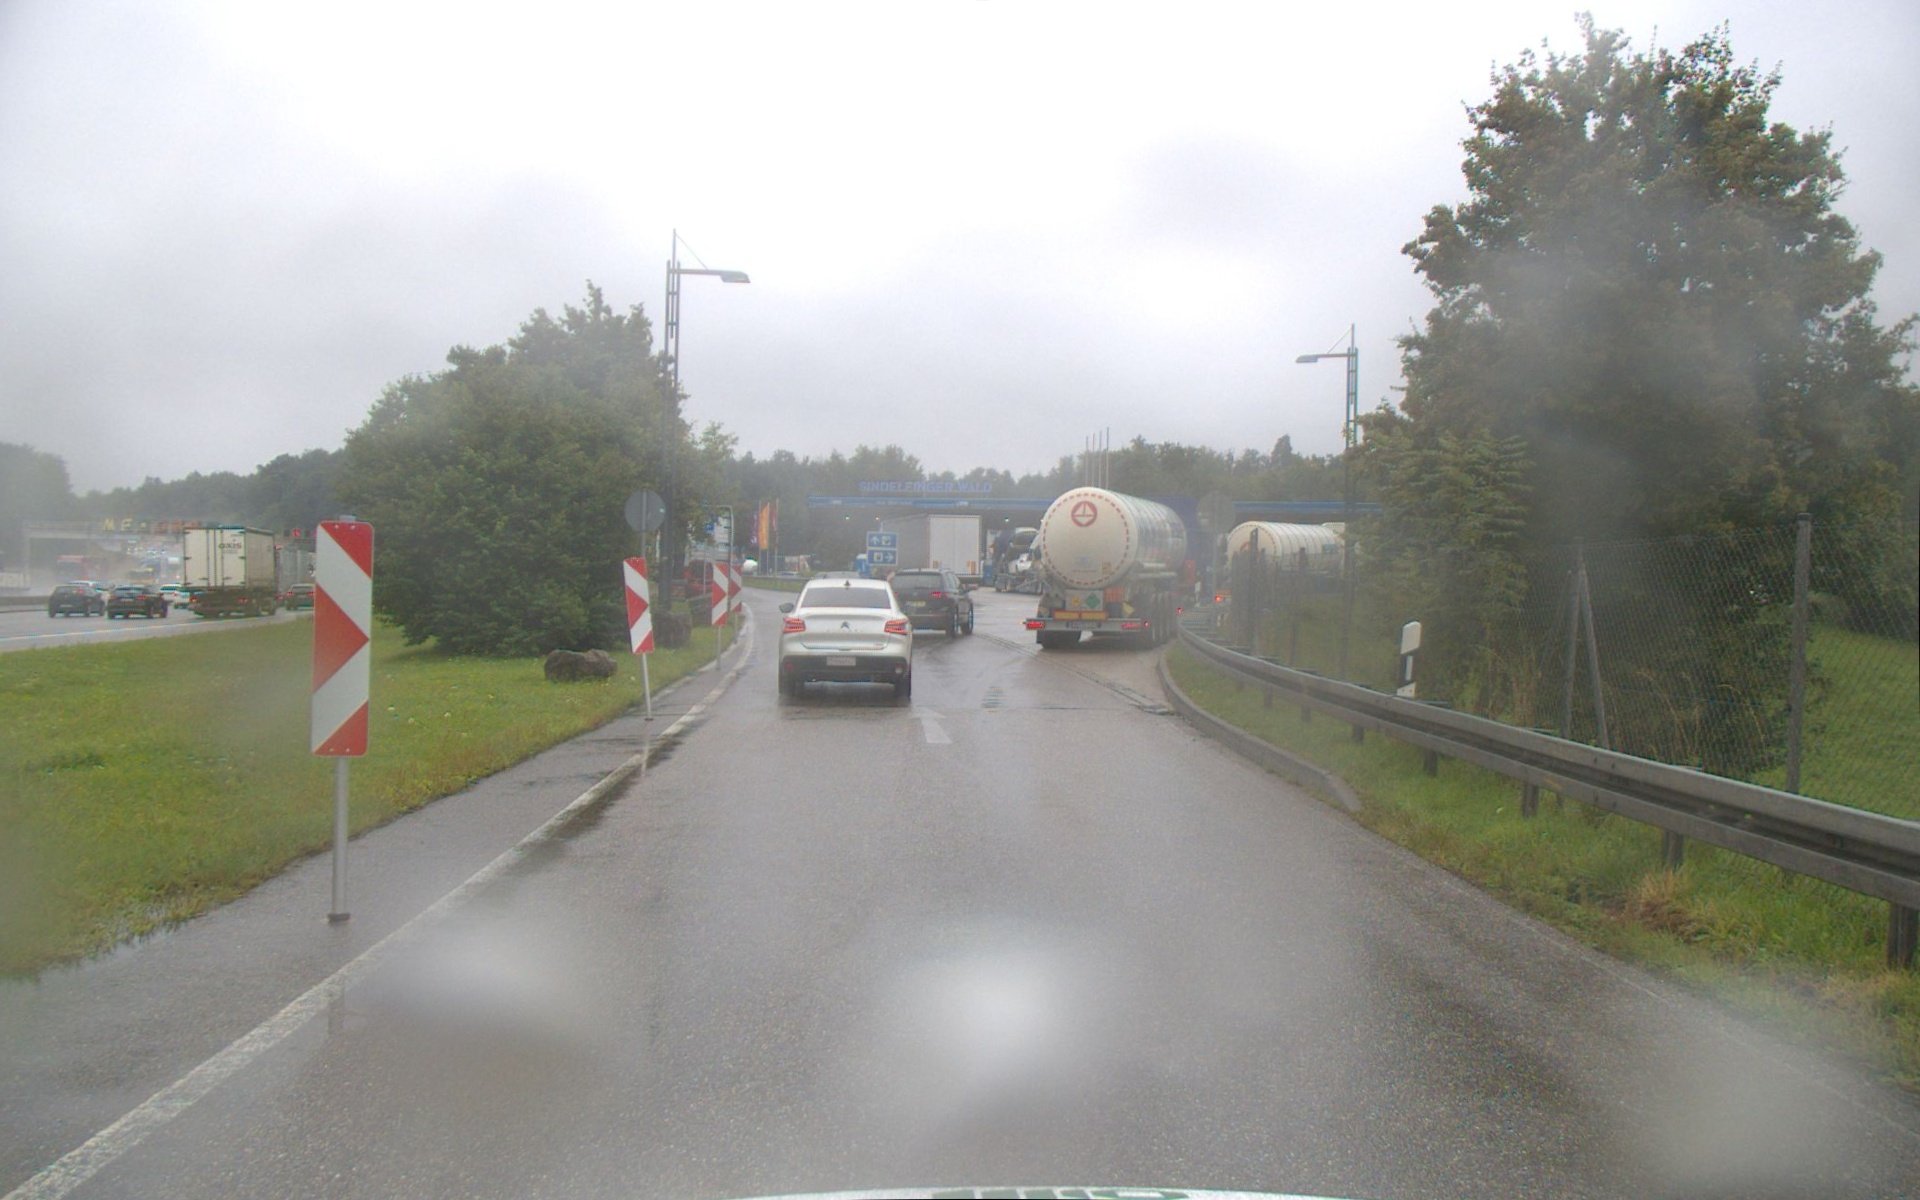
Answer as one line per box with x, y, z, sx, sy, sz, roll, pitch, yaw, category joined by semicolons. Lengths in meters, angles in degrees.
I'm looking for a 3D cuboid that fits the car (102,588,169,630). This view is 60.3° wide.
-36.045;0.389;72.395;1.745;1.766;3.834;0;0;-12;car

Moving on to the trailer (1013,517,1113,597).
5.721;-2.482;94.857;3.157;4.261;11.505;1;1;-9;trailer

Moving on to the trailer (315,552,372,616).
-47.295;-1.139;127.166;3.493;4.693;12.057;0;0;-18;trailer

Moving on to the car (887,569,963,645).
-0.849;0.195;40.848;1.707;1.696;3.999;3;-1;-1;car

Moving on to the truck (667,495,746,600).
-10.236;-2.066;66.267;2.863;3.972;6.300;0;1;-11;truck

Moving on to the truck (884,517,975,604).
-1.666;-1.953;81.592;2.328;3.941;12.420;0;1;-11;truck

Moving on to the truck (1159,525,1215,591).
13.589;-2.528;99.159;2.379;3.872;3.995;0;2;-7;truck

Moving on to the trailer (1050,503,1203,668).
4.079;-0.368;38.278;1.938;3.280;10.330;1;1;14;trailer

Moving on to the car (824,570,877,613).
-4.061;-0.344;61.071;1.842;1.487;3.996;2;1;-5;car

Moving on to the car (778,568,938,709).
-1.334;0.486;22.433;1.953;1.708;3.998;1;0;-2;car

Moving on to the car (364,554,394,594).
-55.377;-2.469;157.643;2.336;3.546;4.791;4;-1;-18;car

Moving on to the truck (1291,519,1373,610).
15.215;-1.453;67.433;2.105;3.574;4.640;1;1;28;truck

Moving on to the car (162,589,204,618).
-56.123;0.225;119.519;1.959;2.049;3.986;0;0;-13;car

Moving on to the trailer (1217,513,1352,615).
12.308;-1.338;61.909;2.090;3.500;10.239;1;1;28;trailer

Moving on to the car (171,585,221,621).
-48.484;0.197;105.024;1.960;2.048;3.986;5;-1;-13;car

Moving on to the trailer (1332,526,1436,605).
19.548;-1.563;75.972;2.145;3.451;7.538;1;1;35;trailer

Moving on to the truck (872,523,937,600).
-2.996;-2.064;88.028;2.328;3.941;6.992;0;1;-12;truck

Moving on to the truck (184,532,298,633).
-33.458;-0.731;77.416;2.800;4.368;11.801;-1;0;-13;truck

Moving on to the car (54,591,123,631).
-40.408;0.480;76.781;1.744;1.766;4.087;-1;0;-12;car

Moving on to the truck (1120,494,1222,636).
5.752;-0.945;44.620;2.009;3.592;4.749;1;1;15;truck

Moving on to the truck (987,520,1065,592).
4.099;-2.793;104.711;3.174;4.261;8.426;1;1;-9;truck

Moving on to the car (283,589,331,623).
-38.510;0.349;97.632;1.959;1.847;3.986;3;-1;-13;car
